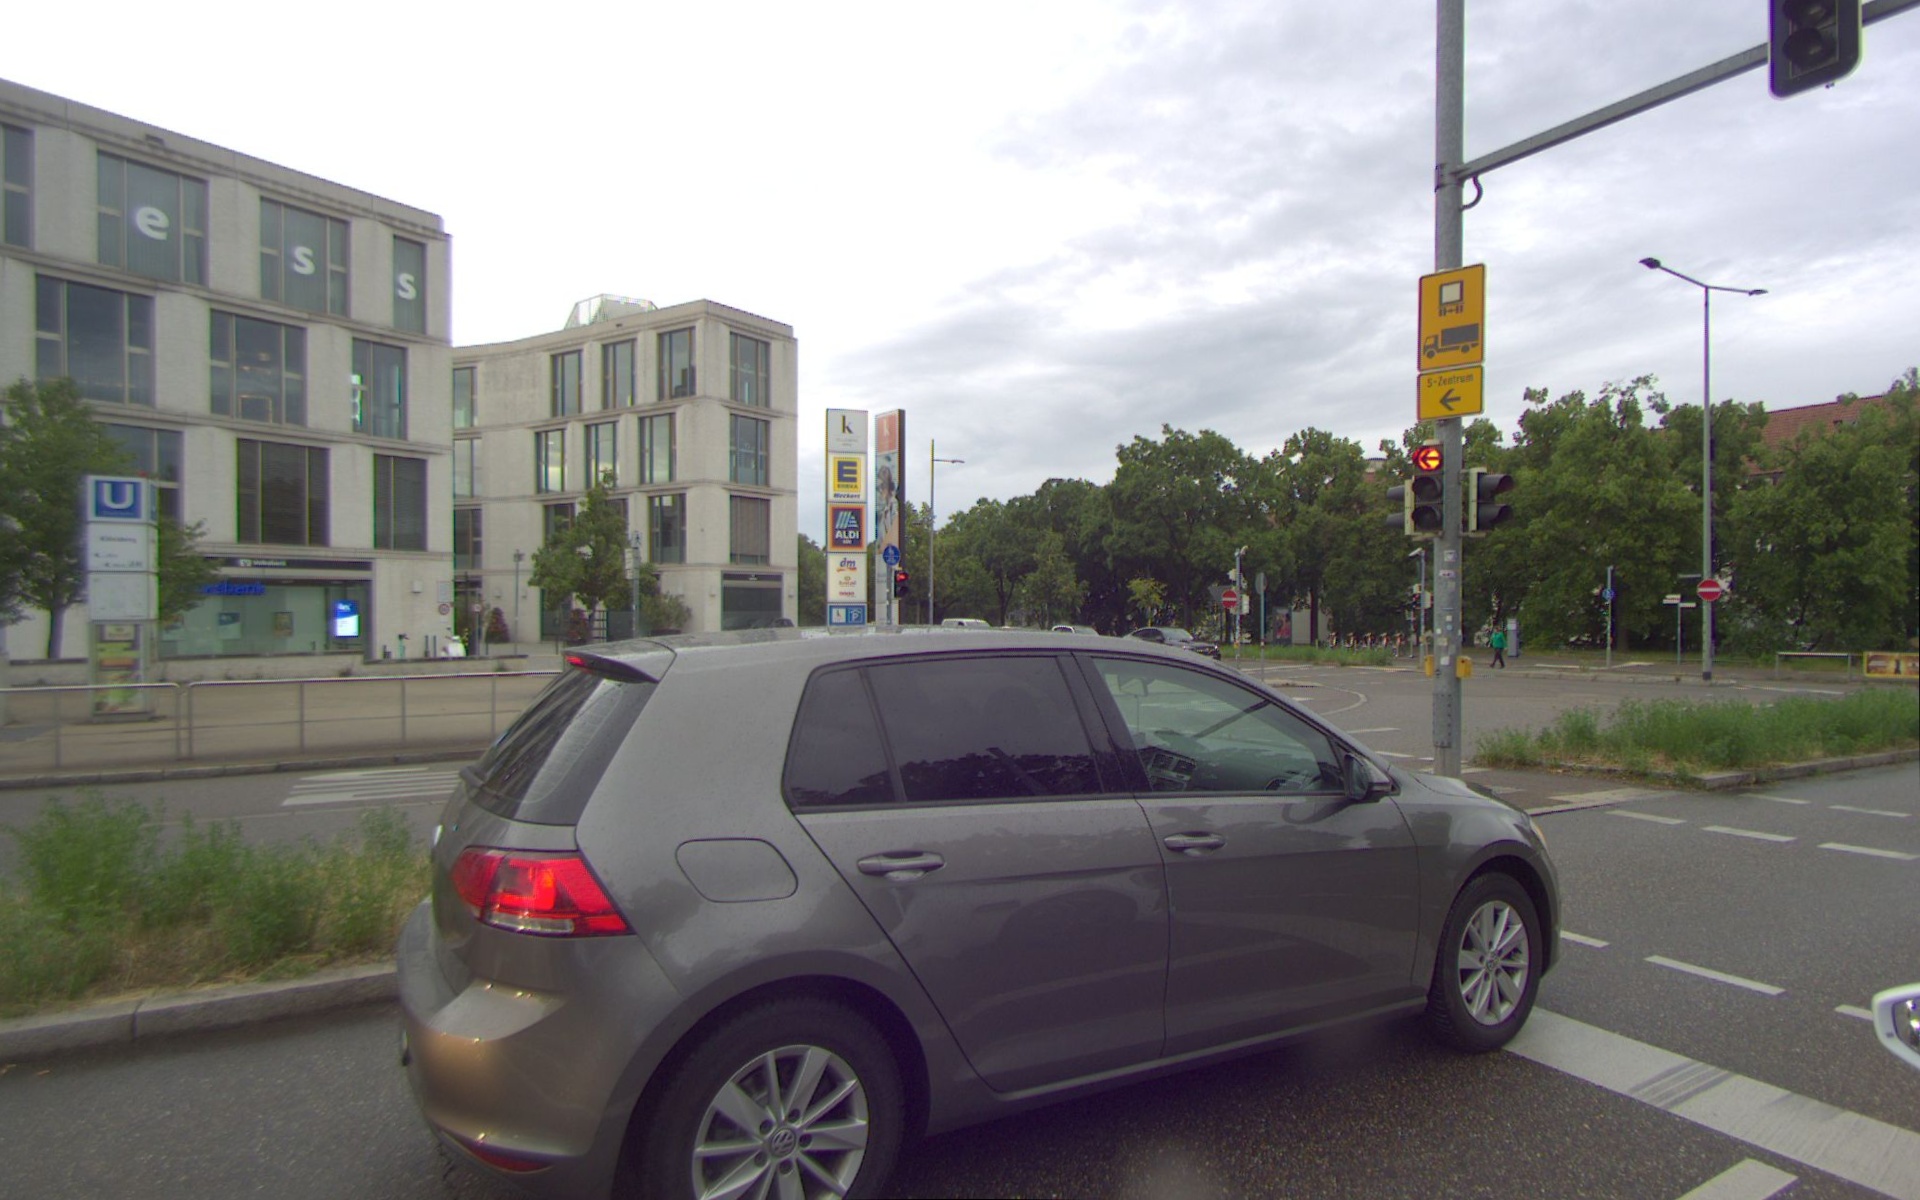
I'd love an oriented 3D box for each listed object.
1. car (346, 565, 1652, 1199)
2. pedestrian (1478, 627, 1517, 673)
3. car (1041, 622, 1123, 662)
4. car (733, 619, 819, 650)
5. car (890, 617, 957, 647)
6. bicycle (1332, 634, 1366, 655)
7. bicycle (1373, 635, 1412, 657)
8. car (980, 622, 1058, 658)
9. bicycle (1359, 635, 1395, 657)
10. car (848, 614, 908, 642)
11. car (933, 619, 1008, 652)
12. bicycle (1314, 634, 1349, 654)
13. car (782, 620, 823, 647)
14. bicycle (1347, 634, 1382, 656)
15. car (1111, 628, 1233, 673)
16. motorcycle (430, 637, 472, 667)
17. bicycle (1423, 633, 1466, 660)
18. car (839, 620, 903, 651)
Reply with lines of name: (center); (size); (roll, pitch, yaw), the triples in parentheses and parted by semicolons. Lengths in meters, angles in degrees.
car: (0.383, 0.753, 3.591); (4.325, 1.501, 1.807); (2, -1, -30)
pedestrian: (21.351, 1.980, 39.905); (0.932, 1.750, 0.921); (2, 0, -20)
car: (5.553, 1.906, 46.024); (1.976, 1.615, 3.536); (2, 0, -30)
car: (-9.189, 1.714, 50.317); (1.968, 1.483, 3.985); (0, -2, 37)
car: (-2.259, 1.883, 60.392); (1.976, 1.615, 4.855); (2, 0, -29)
bicycle: (20.936, 2.386, 54.031); (1.959, 1.085, 0.649); (2, 0, -30)
bicycle: (22.240, 2.358, 51.646); (1.959, 1.085, 0.798); (2, 0, -30)
car: (2.947, 1.992, 50.895); (1.976, 1.615, 4.185); (2, 0, -29)
bicycle: (21.670, 2.392, 52.170); (1.959, 1.085, 0.649); (2, 0, -30)
car: (-5.460, 1.813, 66.111); (1.977, 1.615, 4.852); (2, 0, -31)
car: (0.530, 1.942, 55.403); (1.976, 1.615, 4.855); (2, 0, -29)
bicycle: (20.265, 2.400, 54.761); (1.959, 1.085, 0.649); (2, 0, -30)
car: (-12.683, 2.661, 80.565); (1.976, 2.040, 3.969); (1, -1, -29)
bicycle: (21.369, 2.375, 53.030); (1.959, 1.085, 0.649); (2, 0, -30)
car: (8.391, 1.963, 40.238); (1.976, 1.520, 5.001); (2, 0, -29)
motorcycle: (-14.149, 1.436, 27.934); (1.081, 0.750, 0.522); (2, 0, 29)
bicycle: (23.756, 2.284, 49.258); (1.959, 1.266, 0.986); (2, 0, -30)
car: (-5.331, 2.109, 59.697); (1.976, 1.615, 4.855); (2, 0, -29)
